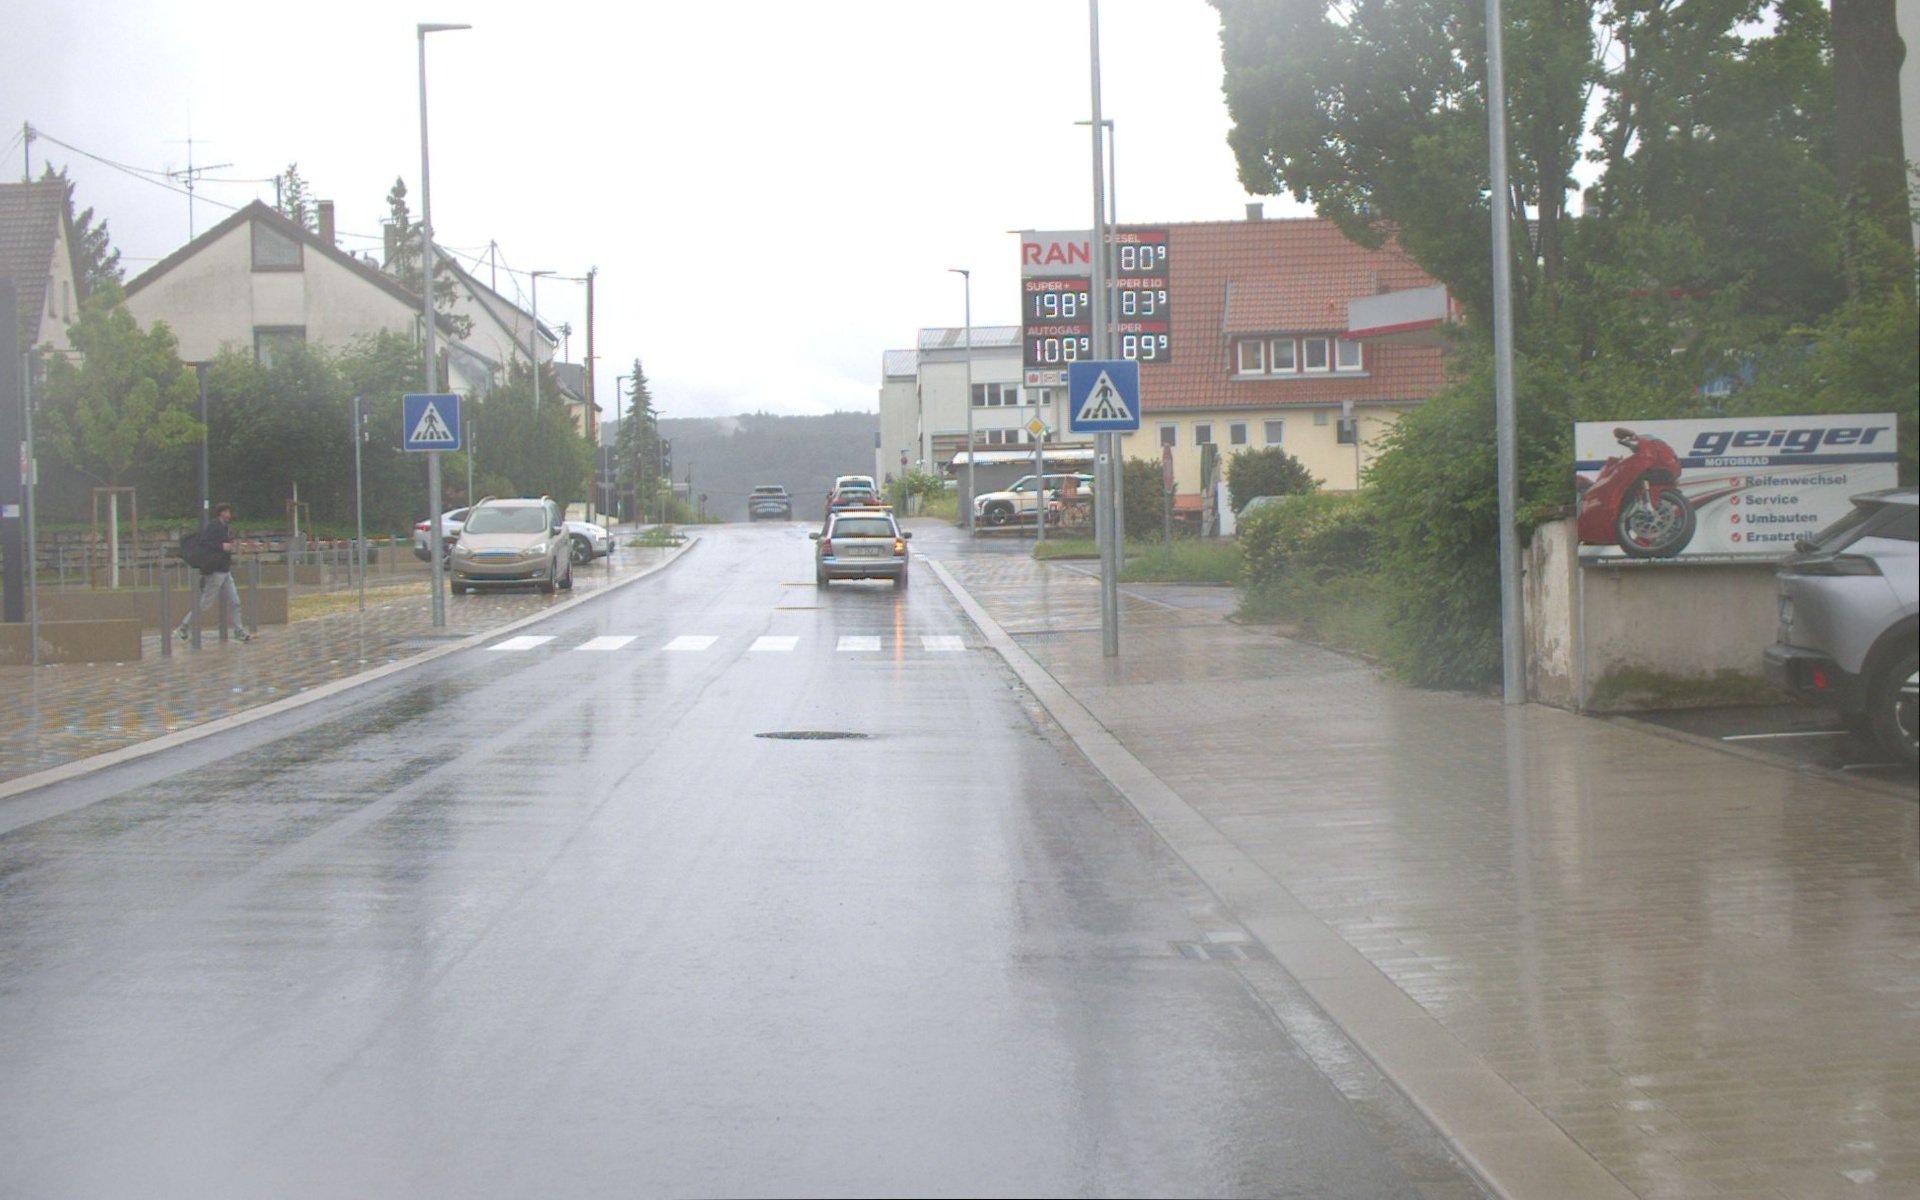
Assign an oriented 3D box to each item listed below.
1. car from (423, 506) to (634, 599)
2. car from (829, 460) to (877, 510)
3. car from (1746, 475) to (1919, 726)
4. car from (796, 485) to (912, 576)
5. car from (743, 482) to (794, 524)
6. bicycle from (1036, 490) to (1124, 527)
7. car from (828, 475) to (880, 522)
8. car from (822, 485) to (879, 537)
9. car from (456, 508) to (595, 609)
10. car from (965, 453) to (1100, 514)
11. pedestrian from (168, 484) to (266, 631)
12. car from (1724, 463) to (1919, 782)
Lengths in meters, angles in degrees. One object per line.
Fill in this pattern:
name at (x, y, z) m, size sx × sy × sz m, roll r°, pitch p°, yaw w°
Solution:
car at (-10.429, -1.141, 83.286) m, size 4.753 × 2.007 × 2.000 m, roll 2°, pitch 0°, yaw 2°
car at (-4.132, -4.433, 132.915) m, size 1.782 × 1.700 × 4.000 m, roll 2°, pitch 0°, yaw -2°
car at (6.875, -0.067, 21.520) m, size 3.622 × 1.489 × 1.806 m, roll -2°, pitch 1°, yaw 8°
car at (-2.027, -1.287, 64.708) m, size 1.948 × 1.550 × 4.000 m, roll 2°, pitch 0°, yaw -4°
car at (-8.771, -4.443, 157.722) m, size 2.154 × 1.700 × 4.000 m, roll 2°, pitch 0°, yaw -2°
bicycle at (3.614, -2.758, 103.920) m, size 0.668 × 1.063 × 3.629 m, roll 3°, pitch 0°, yaw -33°
car at (-4.284, -4.086, 139.450) m, size 1.993 × 1.700 × 4.000 m, roll 2°, pitch 0°, yaw -2°
car at (-4.022, -3.259, 126.186) m, size 1.993 × 1.700 × 4.000 m, roll 2°, pitch 0°, yaw -2°
car at (-7.610, -0.761, 60.540) m, size 1.993 × 1.623 × 4.154 m, roll -1°, pitch 2°, yaw -1°
car at (2.327, -3.734, 110.495) m, size 4.111 × 1.700 × 1.789 m, roll 2°, pitch 0°, yaw -4°
pedestrian at (-8.836, -0.513, 40.904) m, size 1.013 × 1.718 × 0.772 m, roll -1°, pitch 2°, yaw -4°
car at (6.455, 0.014, 18.888) m, size 4.208 × 1.644 × 1.999 m, roll -3°, pitch 1°, yaw 9°
